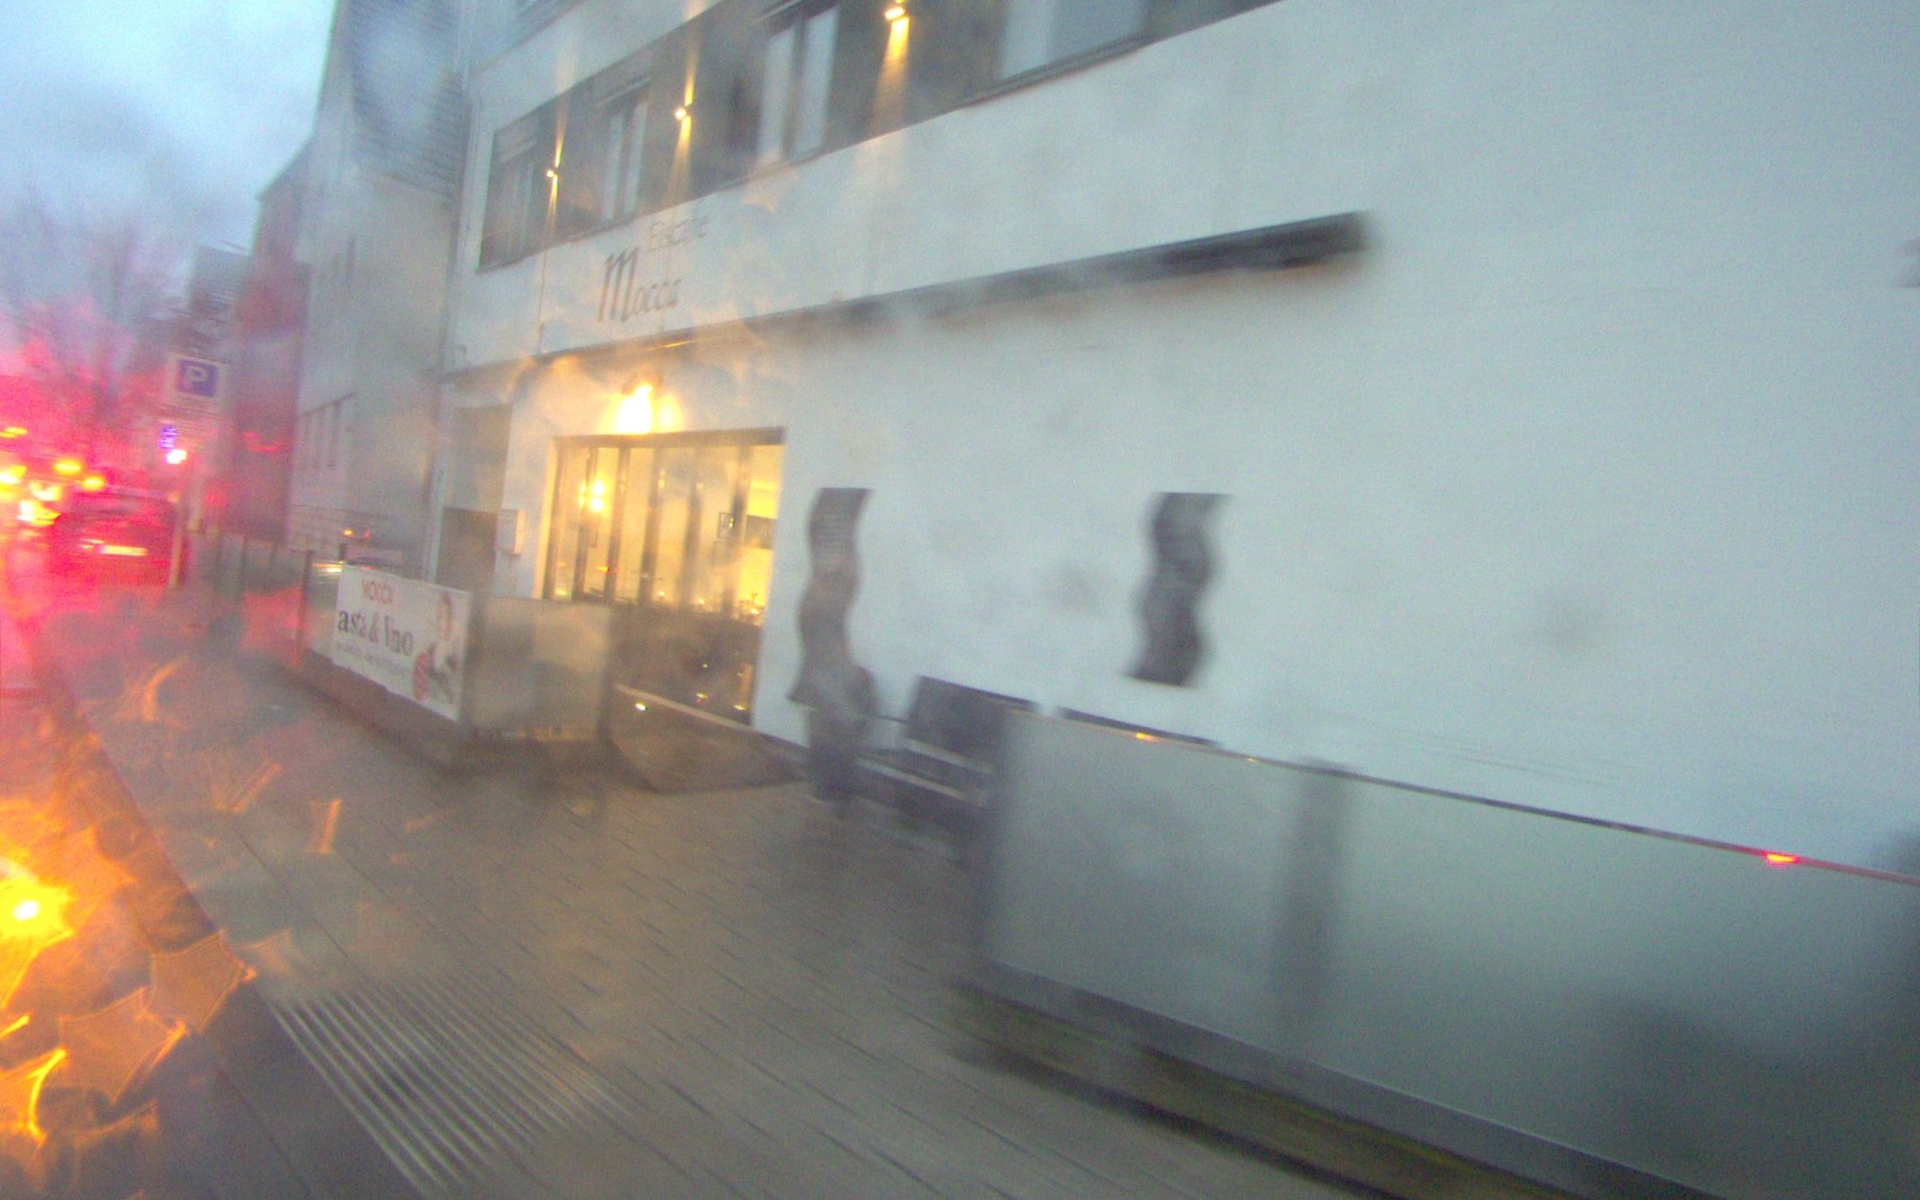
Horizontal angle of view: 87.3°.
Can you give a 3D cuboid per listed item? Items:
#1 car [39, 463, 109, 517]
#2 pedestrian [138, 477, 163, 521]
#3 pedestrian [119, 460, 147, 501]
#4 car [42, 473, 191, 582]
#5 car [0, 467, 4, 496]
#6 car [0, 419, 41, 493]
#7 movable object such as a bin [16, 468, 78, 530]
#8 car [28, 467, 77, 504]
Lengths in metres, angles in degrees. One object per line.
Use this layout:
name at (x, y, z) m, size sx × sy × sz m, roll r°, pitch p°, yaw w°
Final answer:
car at (-33.794, -4.223, 38.336) m, size 1.730 × 1.714 × 4.330 m, roll 6°, pitch 1°, yaw -44°
pedestrian at (-33.090, -4.118, 41.132) m, size 0.526 × 1.672 × 0.945 m, roll 8°, pitch -1°, yaw -34°
pedestrian at (-37.250, -5.383, 45.317) m, size 0.706 × 1.738 × 1.025 m, roll 5°, pitch 3°, yaw -30°
car at (-14.422, -1.297, 17.198) m, size 1.720 × 1.484 × 4.148 m, roll 3°, pitch 4°, yaw -41°
car at (-26.146, -2.939, 26.287) m, size 1.537 × 1.347 × 3.269 m, roll 9°, pitch 0°, yaw -44°
car at (-46.464, -6.998, 48.119) m, size 3.184 × 3.066 × 6.226 m, roll 9°, pitch -2°, yaw -45°
movable object such as a bin at (-23.573, -2.614, 25.993) m, size 1.123 × 1.440 × 1.400 m, roll 3°, pitch 5°, yaw -41°
car at (-55.235, -6.964, 61.216) m, size 1.992 × 1.887 × 4.032 m, roll 8°, pitch 0°, yaw -43°
